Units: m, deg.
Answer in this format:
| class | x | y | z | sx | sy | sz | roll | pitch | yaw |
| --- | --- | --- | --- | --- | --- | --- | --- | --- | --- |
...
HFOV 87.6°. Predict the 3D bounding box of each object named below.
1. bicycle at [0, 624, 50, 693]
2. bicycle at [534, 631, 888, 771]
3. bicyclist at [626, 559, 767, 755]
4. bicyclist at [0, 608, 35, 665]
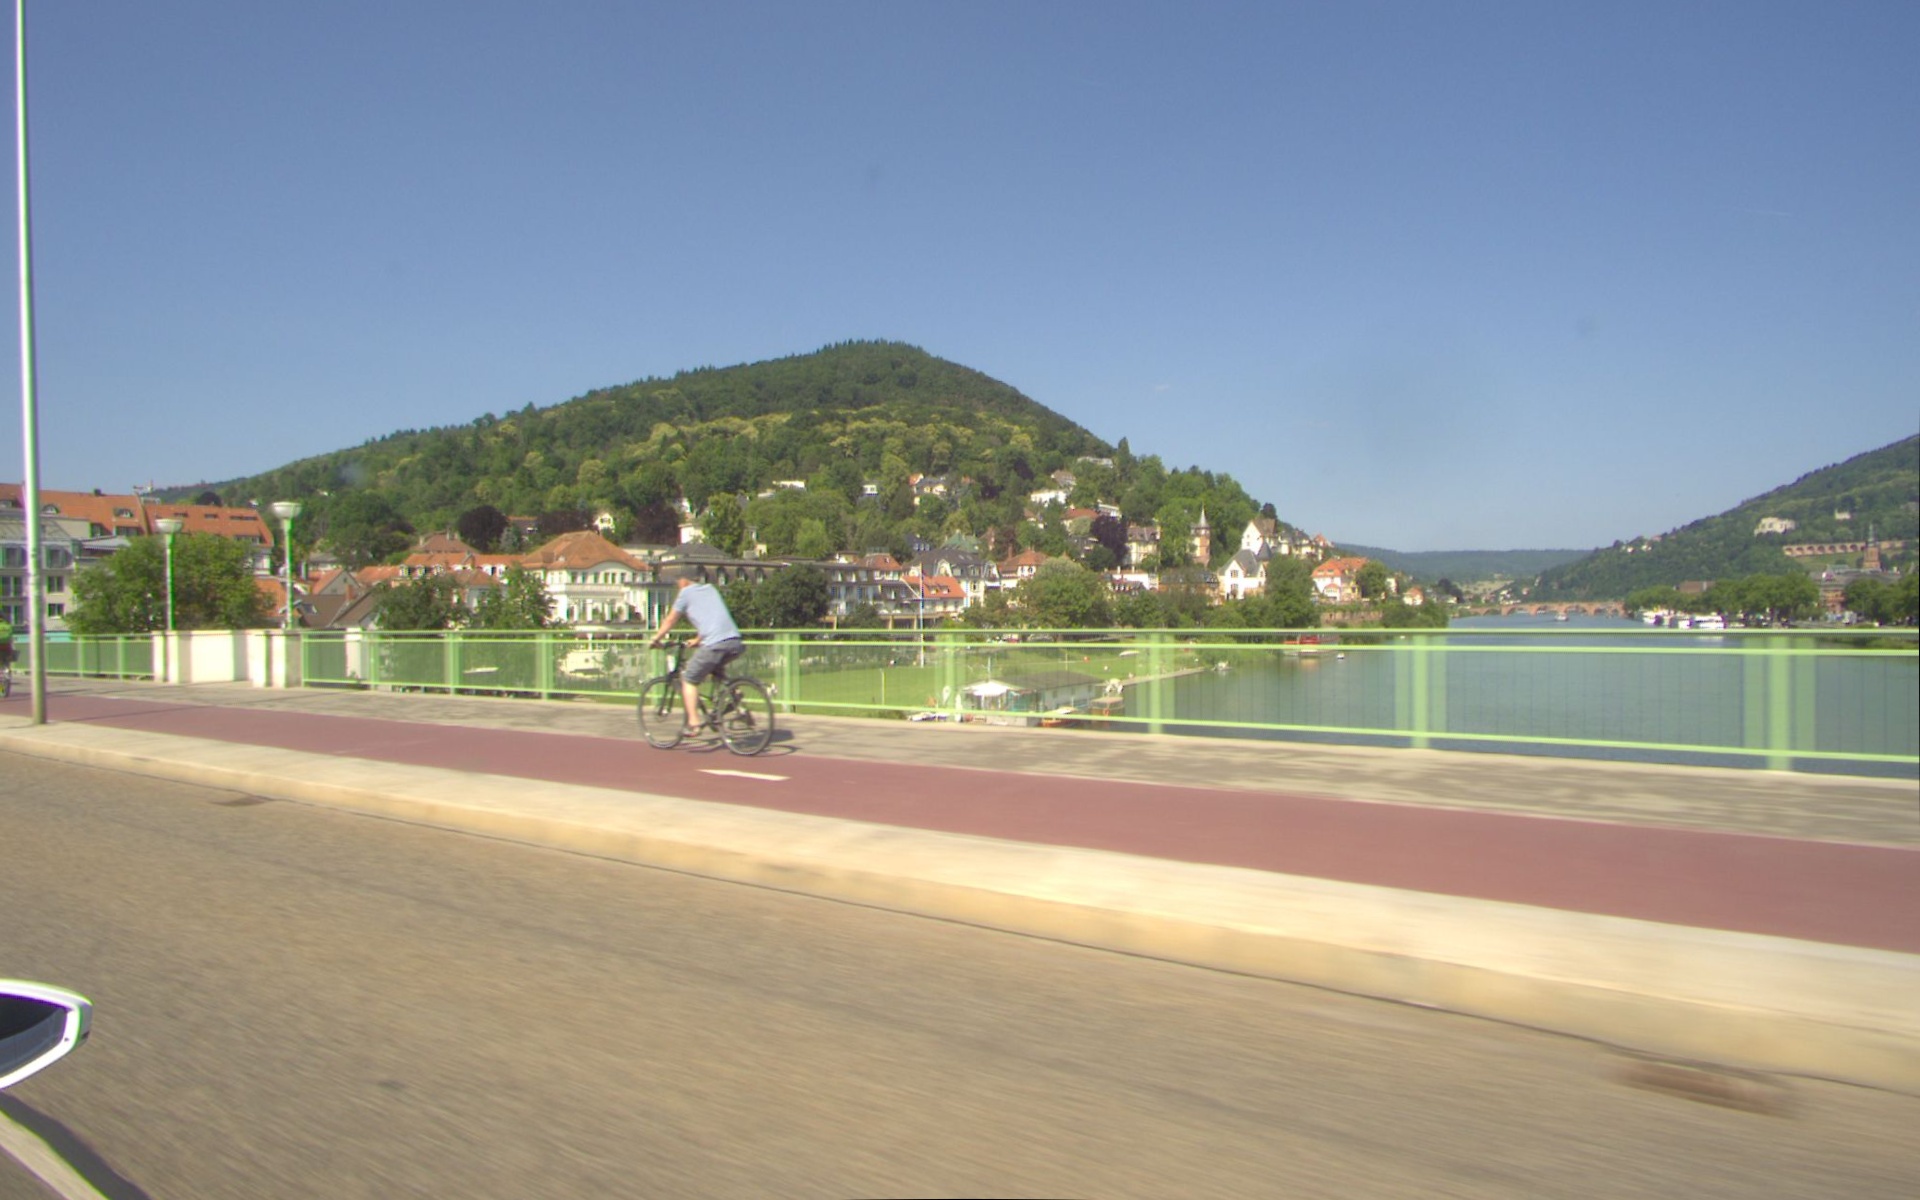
| class | x | y | z | sx | sy | sz | roll | pitch | yaw |
| --- | --- | --- | --- | --- | --- | --- | --- | --- | --- |
| bicycle | -18.084 | 1.080 | 18.851 | 2.047 | 1.210 | 0.694 | -1 | 2 | 27 |
| bicycle | -2.462 | 0.876 | 9.551 | 3.686 | 1.111 | 0.791 | 0 | 1 | 28 |
| bicyclist | -2.515 | 0.515 | 9.566 | 1.132 | 1.767 | 0.672 | 0 | 1 | 28 |
| bicyclist | -18.055 | 0.684 | 18.863 | 0.966 | 1.058 | 0.665 | 0 | 0 | 31 |
